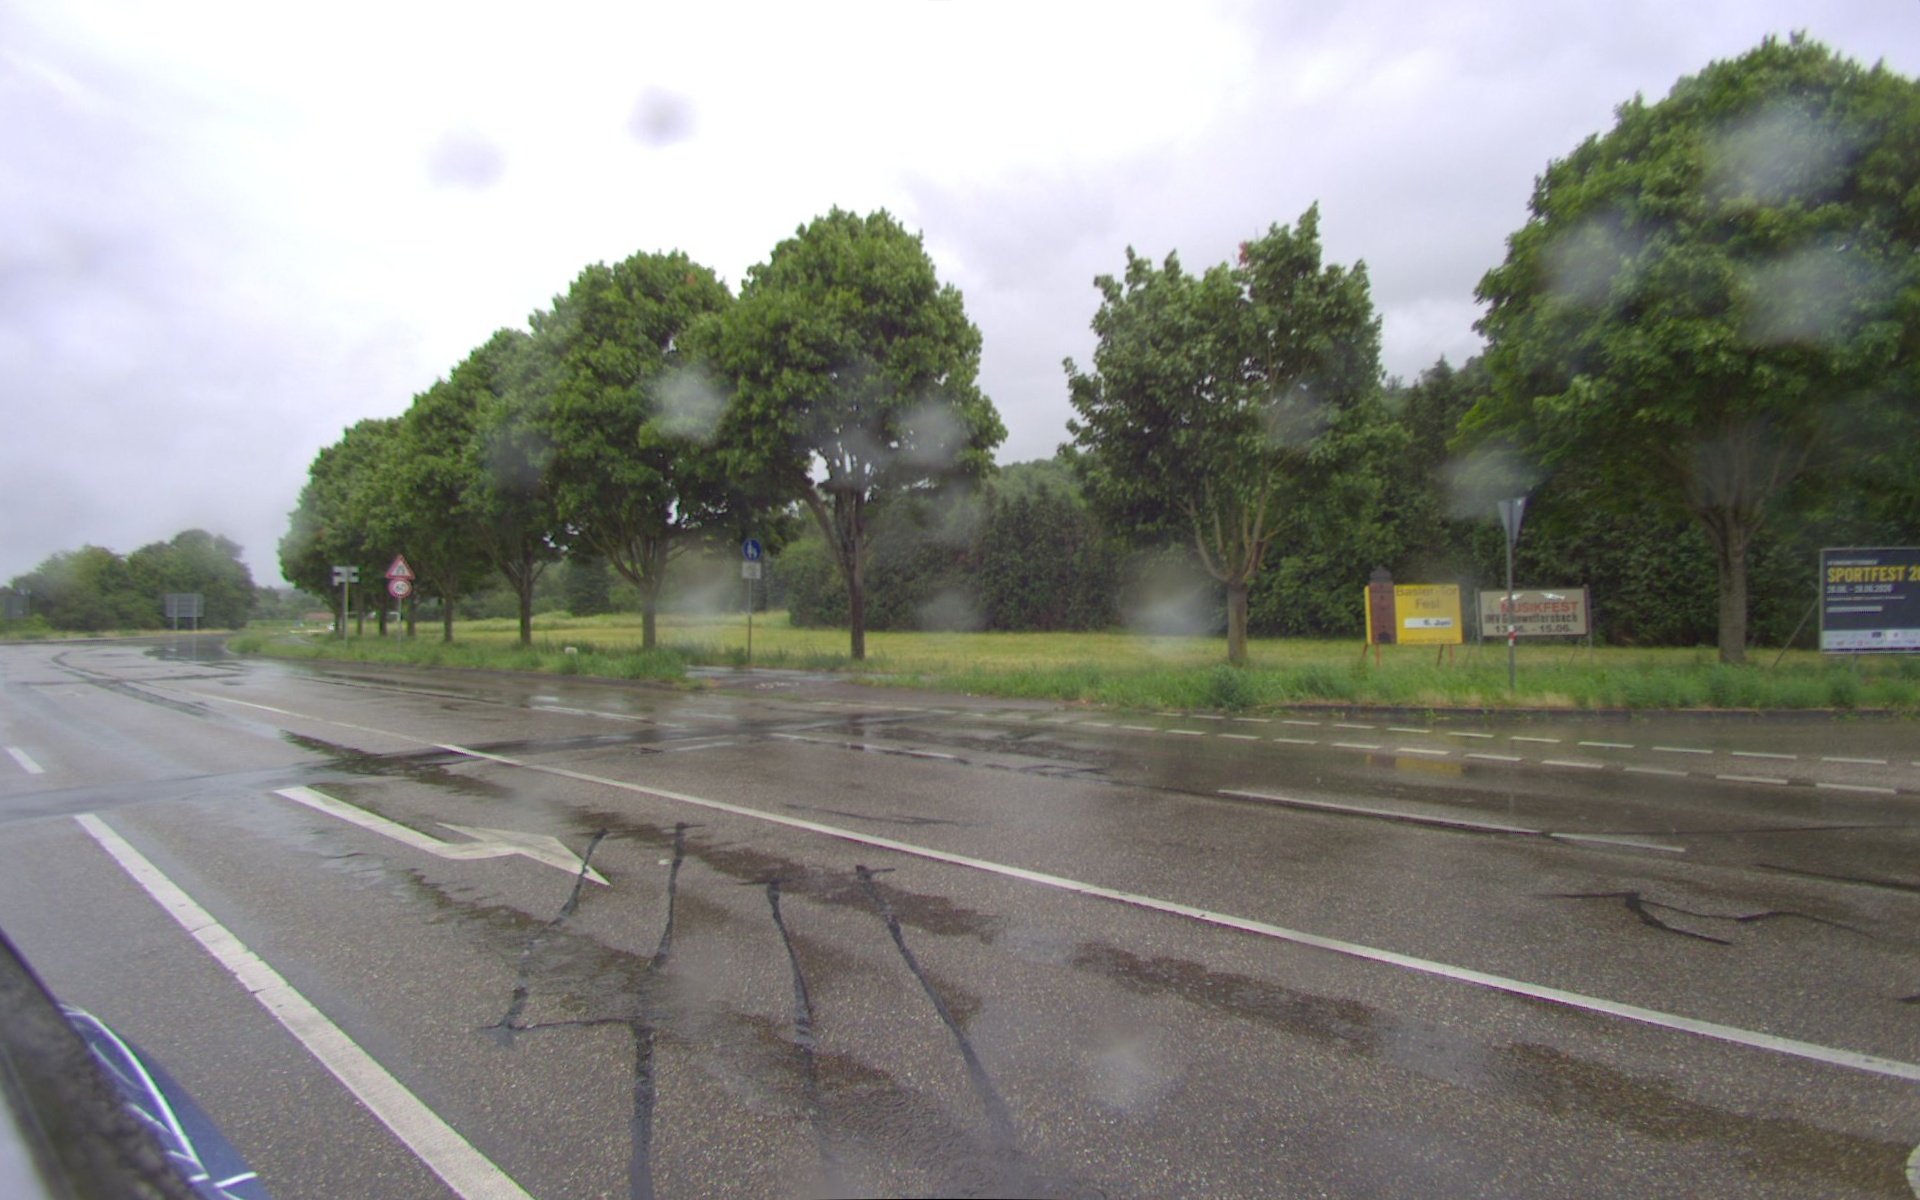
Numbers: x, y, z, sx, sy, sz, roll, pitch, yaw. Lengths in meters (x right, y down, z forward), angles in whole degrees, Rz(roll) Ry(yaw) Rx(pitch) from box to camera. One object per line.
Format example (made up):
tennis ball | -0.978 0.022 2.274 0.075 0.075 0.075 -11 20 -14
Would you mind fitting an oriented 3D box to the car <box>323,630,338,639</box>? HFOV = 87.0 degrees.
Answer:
car | -111.059 6.071 178.489 1.852 1.585 4.659 2 -2 -27
